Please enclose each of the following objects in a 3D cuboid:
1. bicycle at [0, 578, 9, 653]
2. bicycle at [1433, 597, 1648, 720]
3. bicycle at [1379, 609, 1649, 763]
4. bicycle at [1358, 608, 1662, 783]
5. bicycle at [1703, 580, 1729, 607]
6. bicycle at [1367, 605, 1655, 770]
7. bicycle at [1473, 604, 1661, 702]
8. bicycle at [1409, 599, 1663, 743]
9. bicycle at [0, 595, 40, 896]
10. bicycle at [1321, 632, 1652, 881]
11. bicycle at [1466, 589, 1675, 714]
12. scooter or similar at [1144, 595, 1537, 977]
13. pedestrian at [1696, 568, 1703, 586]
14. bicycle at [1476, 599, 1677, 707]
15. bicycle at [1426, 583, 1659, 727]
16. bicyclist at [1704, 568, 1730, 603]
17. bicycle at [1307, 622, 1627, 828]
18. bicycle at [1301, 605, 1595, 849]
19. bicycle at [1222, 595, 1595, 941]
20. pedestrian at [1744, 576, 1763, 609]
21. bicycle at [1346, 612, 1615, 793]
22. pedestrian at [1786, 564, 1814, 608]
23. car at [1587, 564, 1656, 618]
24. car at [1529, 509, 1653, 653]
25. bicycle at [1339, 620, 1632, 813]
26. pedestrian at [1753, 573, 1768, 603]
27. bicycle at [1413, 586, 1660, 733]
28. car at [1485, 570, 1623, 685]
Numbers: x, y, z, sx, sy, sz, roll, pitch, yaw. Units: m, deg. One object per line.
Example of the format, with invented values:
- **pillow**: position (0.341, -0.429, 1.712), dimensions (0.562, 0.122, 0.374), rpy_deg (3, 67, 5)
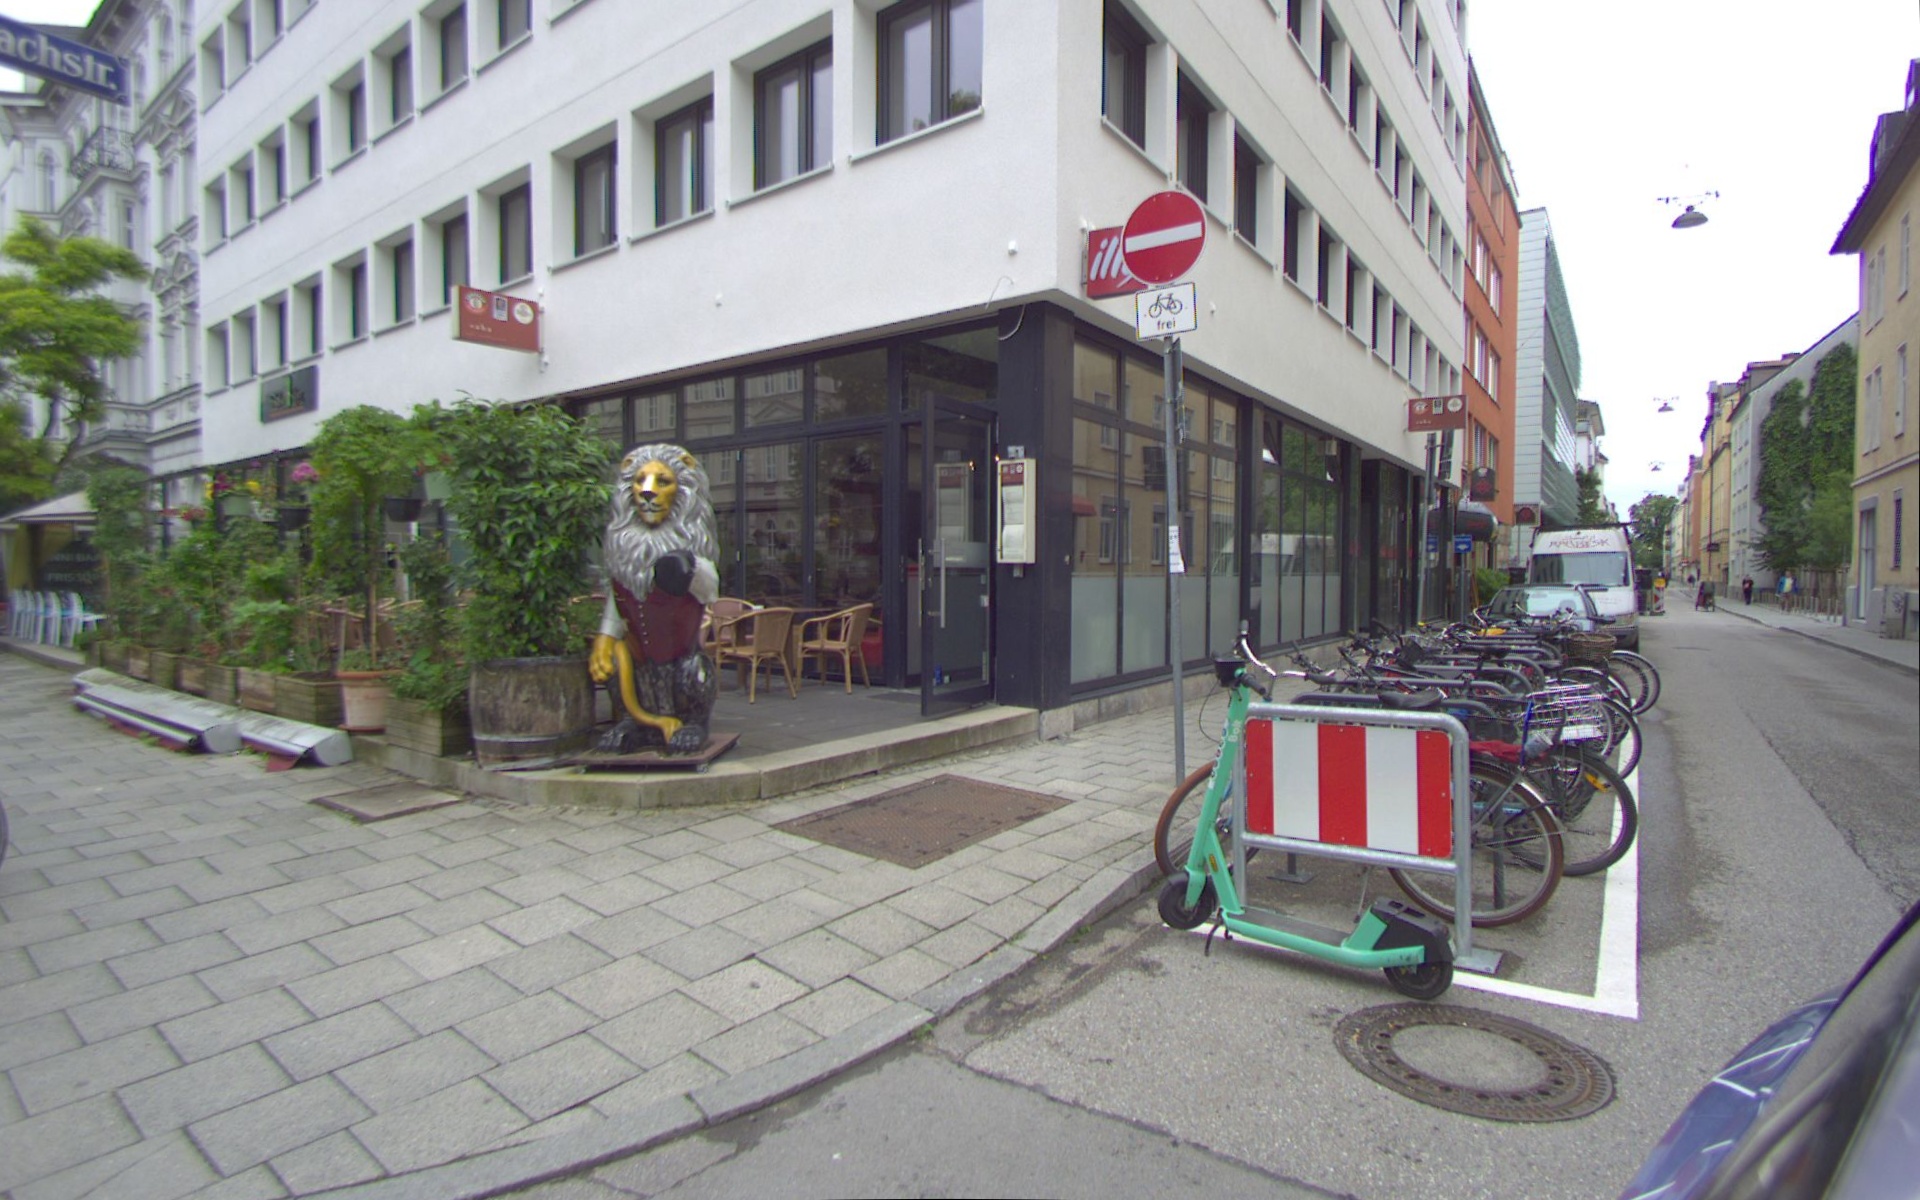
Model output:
- **bicycle**: position (-15.361, 0.234, 16.005), dimensions (0.464, 1.141, 1.412), rpy_deg (-1, 2, -43)
- **bicycle**: position (5.927, 0.558, 10.405), dimensions (1.866, 1.172, 0.558), rpy_deg (0, -1, 34)
- **bicycle**: position (4.477, 0.650, 8.280), dimensions (1.865, 1.064, 0.558), rpy_deg (2, 3, 32)
- **bicycle**: position (3.907, 0.631, 7.306), dimensions (1.865, 1.093, 0.403), rpy_deg (1, 0, 32)
- **bicycle**: position (38.720, -0.337, 51.855), dimensions (0.929, 1.272, 2.384), rpy_deg (3, 3, 34)
- **bicycle**: position (4.122, 0.610, 7.686), dimensions (1.865, 1.093, 0.398), rpy_deg (1, 0, 32)
- **bicycle**: position (7.176, 0.602, 12.027), dimensions (1.866, 1.093, 0.482), rpy_deg (-1, -1, 34)
- **bicycle**: position (4.947, 0.566, 8.795), dimensions (1.865, 1.109, 0.435), rpy_deg (1, 0, 32)
- **bicycle**: position (-4.533, 0.554, 4.375), dimensions (1.899, 1.141, 0.583), rpy_deg (2, 2, 41)
- **bicycle**: position (2.649, 0.739, 5.203), dimensions (1.442, 1.083, 0.459), rpy_deg (1, 1, 28)
- **bicycle**: position (6.488, 0.509, 10.830), dimensions (1.866, 1.219, 0.482), rpy_deg (1, 0, 34)
- **scooter or similar**: position (1.413, 0.608, 3.894), dimensions (1.349, 1.225, 0.412), rpy_deg (1, 2, 37)
- **pedestrian**: position (77.676, -2.387, 106.343), dimensions (0.490, 1.847, 0.546), rpy_deg (2, 2, 34)
- **bicycle**: position (6.799, 0.554, 11.240), dimensions (1.866, 1.122, 0.482), rpy_deg (0, -1, 34)
- **bicycle**: position (5.577, 0.474, 9.766), dimensions (1.867, 1.219, 0.573), rpy_deg (3, 2, 34)
- **bicyclist**: position (38.536, -0.746, 51.534), dimensions (0.923, 1.742, 1.086), rpy_deg (3, 2, 35)
- **bicycle**: position (3.132, 0.719, 6.358), dimensions (1.732, 1.093, 0.447), rpy_deg (1, 0, 32)
- **bicycle**: position (2.707, 0.657, 5.710), dimensions (1.442, 1.222, 0.391), rpy_deg (1, 1, 28)
- **bicycle**: position (1.938, 0.641, 4.486), dimensions (1.453, 1.301, 0.439), rpy_deg (1, 1, 37)
- **pedestrian**: position (46.678, -0.447, 59.504), dimensions (0.773, 1.859, 0.979), rpy_deg (1, 2, 34)
- **bicycle**: position (3.567, 0.658, 7.017), dimensions (1.606, 1.093, 0.373), rpy_deg (1, 0, 32)
- **pedestrian**: position (35.902, -0.594, 43.262), dimensions (0.856, 1.867, 0.961), rpy_deg (0, 1, 36)
- **car**: position (22.927, -0.344, 35.003), dimensions (1.819, 1.731, 4.333), rpy_deg (0, 1, 36)
- **car**: position (13.015, -0.391, 20.784), dimensions (1.913, 2.537, 5.925), rpy_deg (0, 1, 34)
- **bicycle**: position (3.408, 0.709, 6.663), dimensions (1.667, 1.093, 0.332), rpy_deg (1, 0, 32)
- **pedestrian**: position (45.246, -0.705, 57.211), dimensions (0.550, 1.680, 0.985), rpy_deg (1, 2, 34)
- **bicycle**: position (5.219, 0.492, 9.259), dimensions (1.886, 1.184, 0.559), rpy_deg (2, 2, 33)
- **car**: position (8.903, 0.303, 15.065), dimensions (1.574, 1.482, 3.510), rpy_deg (1, 2, 33)
